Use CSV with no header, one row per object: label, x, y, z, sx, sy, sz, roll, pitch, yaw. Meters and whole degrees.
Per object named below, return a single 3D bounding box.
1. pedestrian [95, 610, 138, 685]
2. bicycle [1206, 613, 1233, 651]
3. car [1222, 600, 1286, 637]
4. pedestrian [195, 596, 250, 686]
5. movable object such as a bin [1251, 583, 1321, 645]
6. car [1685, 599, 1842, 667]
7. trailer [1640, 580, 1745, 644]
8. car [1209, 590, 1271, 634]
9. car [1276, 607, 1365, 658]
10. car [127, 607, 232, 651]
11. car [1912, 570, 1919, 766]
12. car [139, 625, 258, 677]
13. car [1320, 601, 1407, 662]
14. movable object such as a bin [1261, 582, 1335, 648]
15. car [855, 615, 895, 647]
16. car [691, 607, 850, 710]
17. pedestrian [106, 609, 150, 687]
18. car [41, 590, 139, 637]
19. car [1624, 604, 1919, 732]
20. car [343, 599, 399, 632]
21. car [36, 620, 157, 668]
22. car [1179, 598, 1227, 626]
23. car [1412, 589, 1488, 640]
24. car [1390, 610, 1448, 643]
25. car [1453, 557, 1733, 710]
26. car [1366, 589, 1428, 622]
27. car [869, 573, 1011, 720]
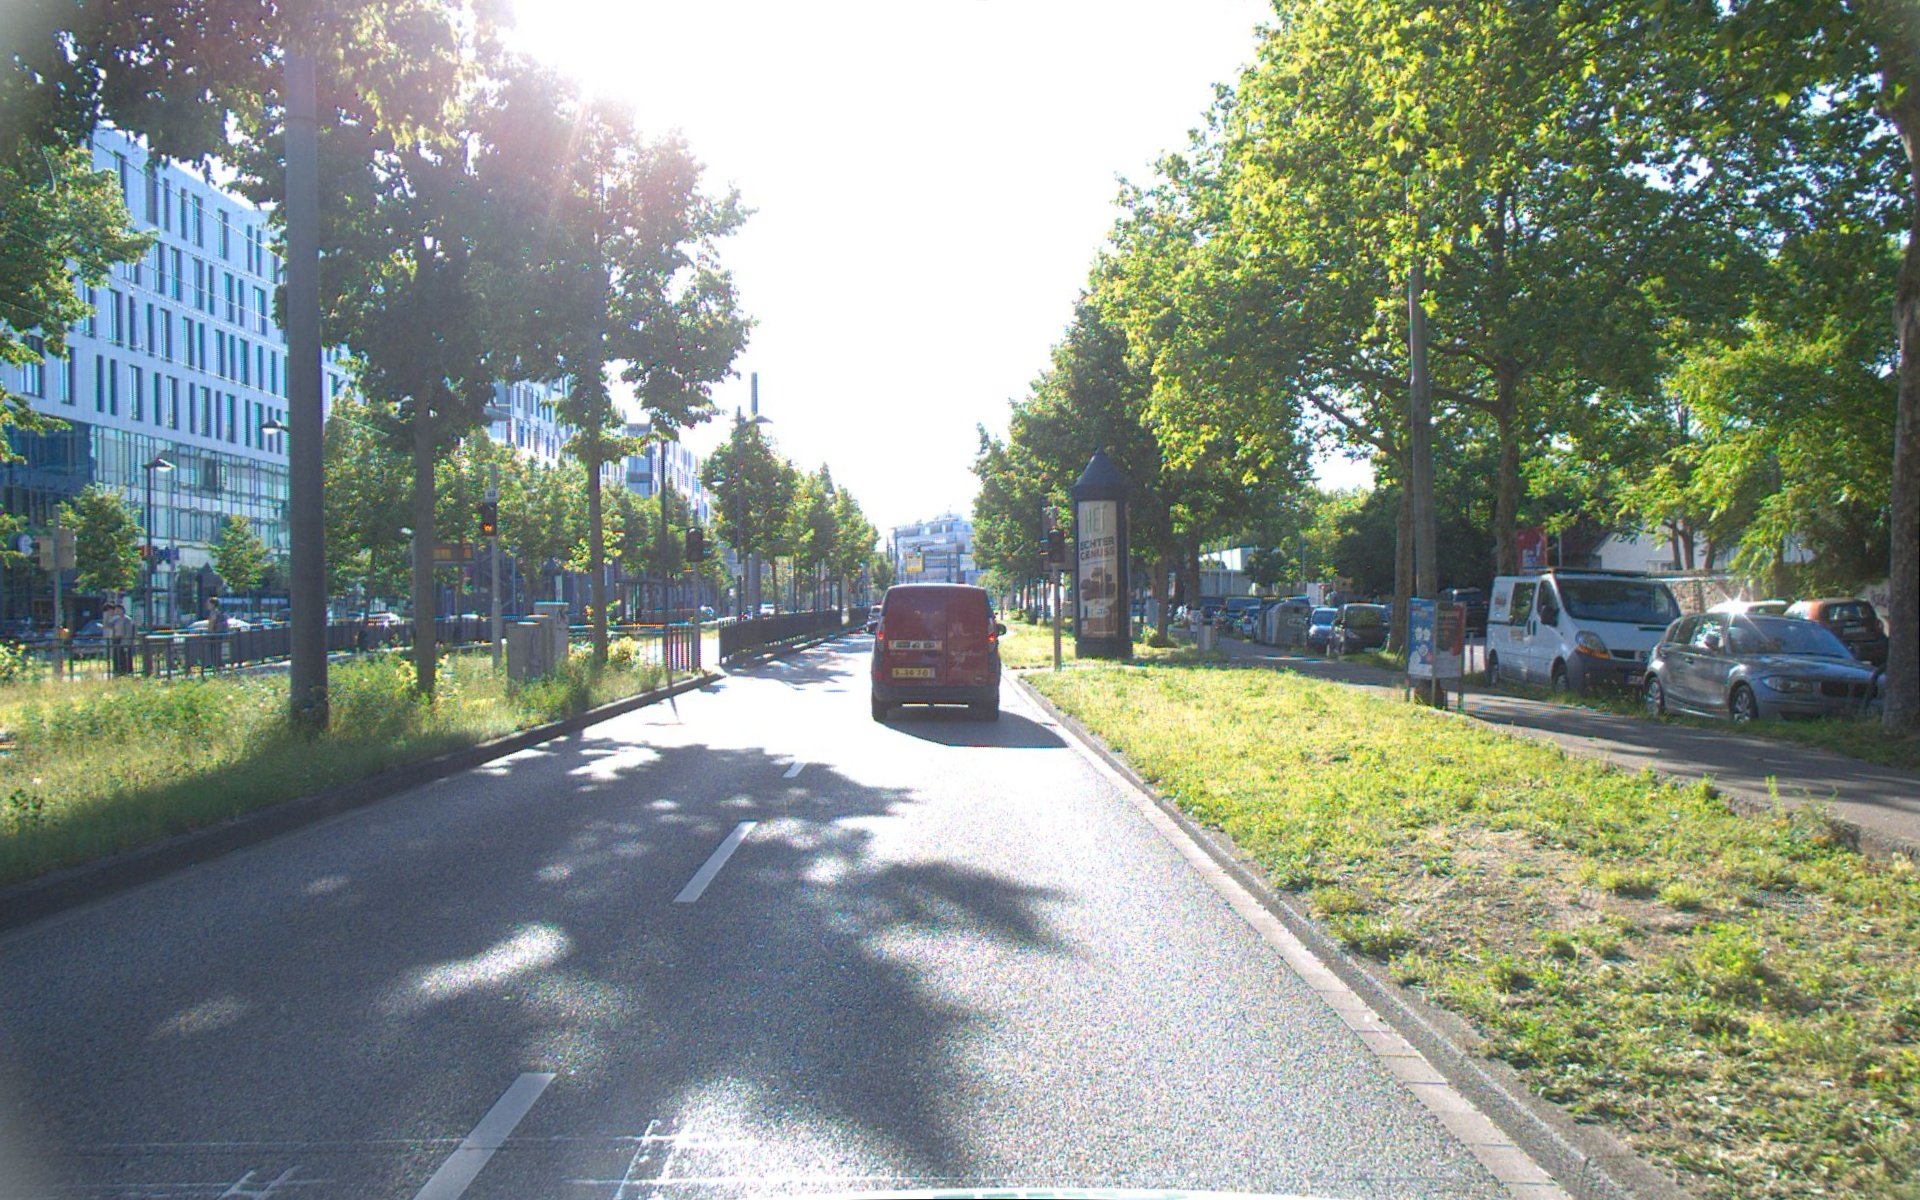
pedestrian,-17.338,0.969,34.007,0.531,1.523,0.603,1,-1,3
bicycle,7.333,0.900,46.852,0.482,1.065,1.904,1,-1,1
car,11.975,0.770,67.595,1.833,1.413,3.999,1,-1,-1
pedestrian,-15.499,0.863,34.753,0.804,1.868,0.726,1,-1,-3
movable object such as a bin,11.069,0.485,56.302,2.038,2.049,2.137,1,-1,3
car,19.937,0.815,41.240,1.952,1.509,4.326,-2,-1,3
trailer,20.638,0.345,46.725,1.694,1.669,3.024,-3,-1,3
car,12.311,0.530,72.992,1.833,1.852,4.891,1,-1,-1
car,10.580,0.956,48.825,1.957,1.409,4.747,1,-1,5
car,-31.367,1.169,66.612,1.952,1.701,4.610,1,-1,0
car,9.000,0.562,12.021,1.701,1.671,4.352,1,-1,1
car,-23.623,1.549,51.482,1.954,1.512,3.997,1,-1,-3
car,10.502,0.815,43.230,1.627,1.527,2.989,1,-1,2
movable object such as a bin,10.930,0.491,53.537,2.038,2.049,2.137,1,-1,3
car,-4.535,1.678,88.970,1.953,1.646,3.999,1,-1,-1
car,-3.001,0.884,27.229,1.912,1.506,5.085,1,0,1
pedestrian,-16.794,0.969,33.391,0.538,1.545,0.589,1,-1,4
car,-39.306,0.623,74.846,1.952,2.049,4.563,1,-1,0
car,9.470,0.739,19.176,1.952,1.312,4.053,1,-1,1
car,-38.319,1.029,107.762,1.952,2.049,4.563,1,-1,0
car,-31.539,1.584,60.562,1.952,1.637,4.610,1,-1,0
car,12.572,0.636,85.607,1.833,1.391,3.999,1,-1,-1
car,20.747,0.631,70.189,1.833,2.037,4.690,-2,-1,1
car,21.376,1.224,77.214,1.695,1.395,4.314,-3,-1,3
car,9.488,0.503,25.432,2.145,2.049,5.820,1,-1,1
car,21.871,0.315,82.918,1.833,1.509,4.690,-2,-1,1
car,-0.361,0.626,23.247,1.773,1.870,3.997,1,-1,-4
